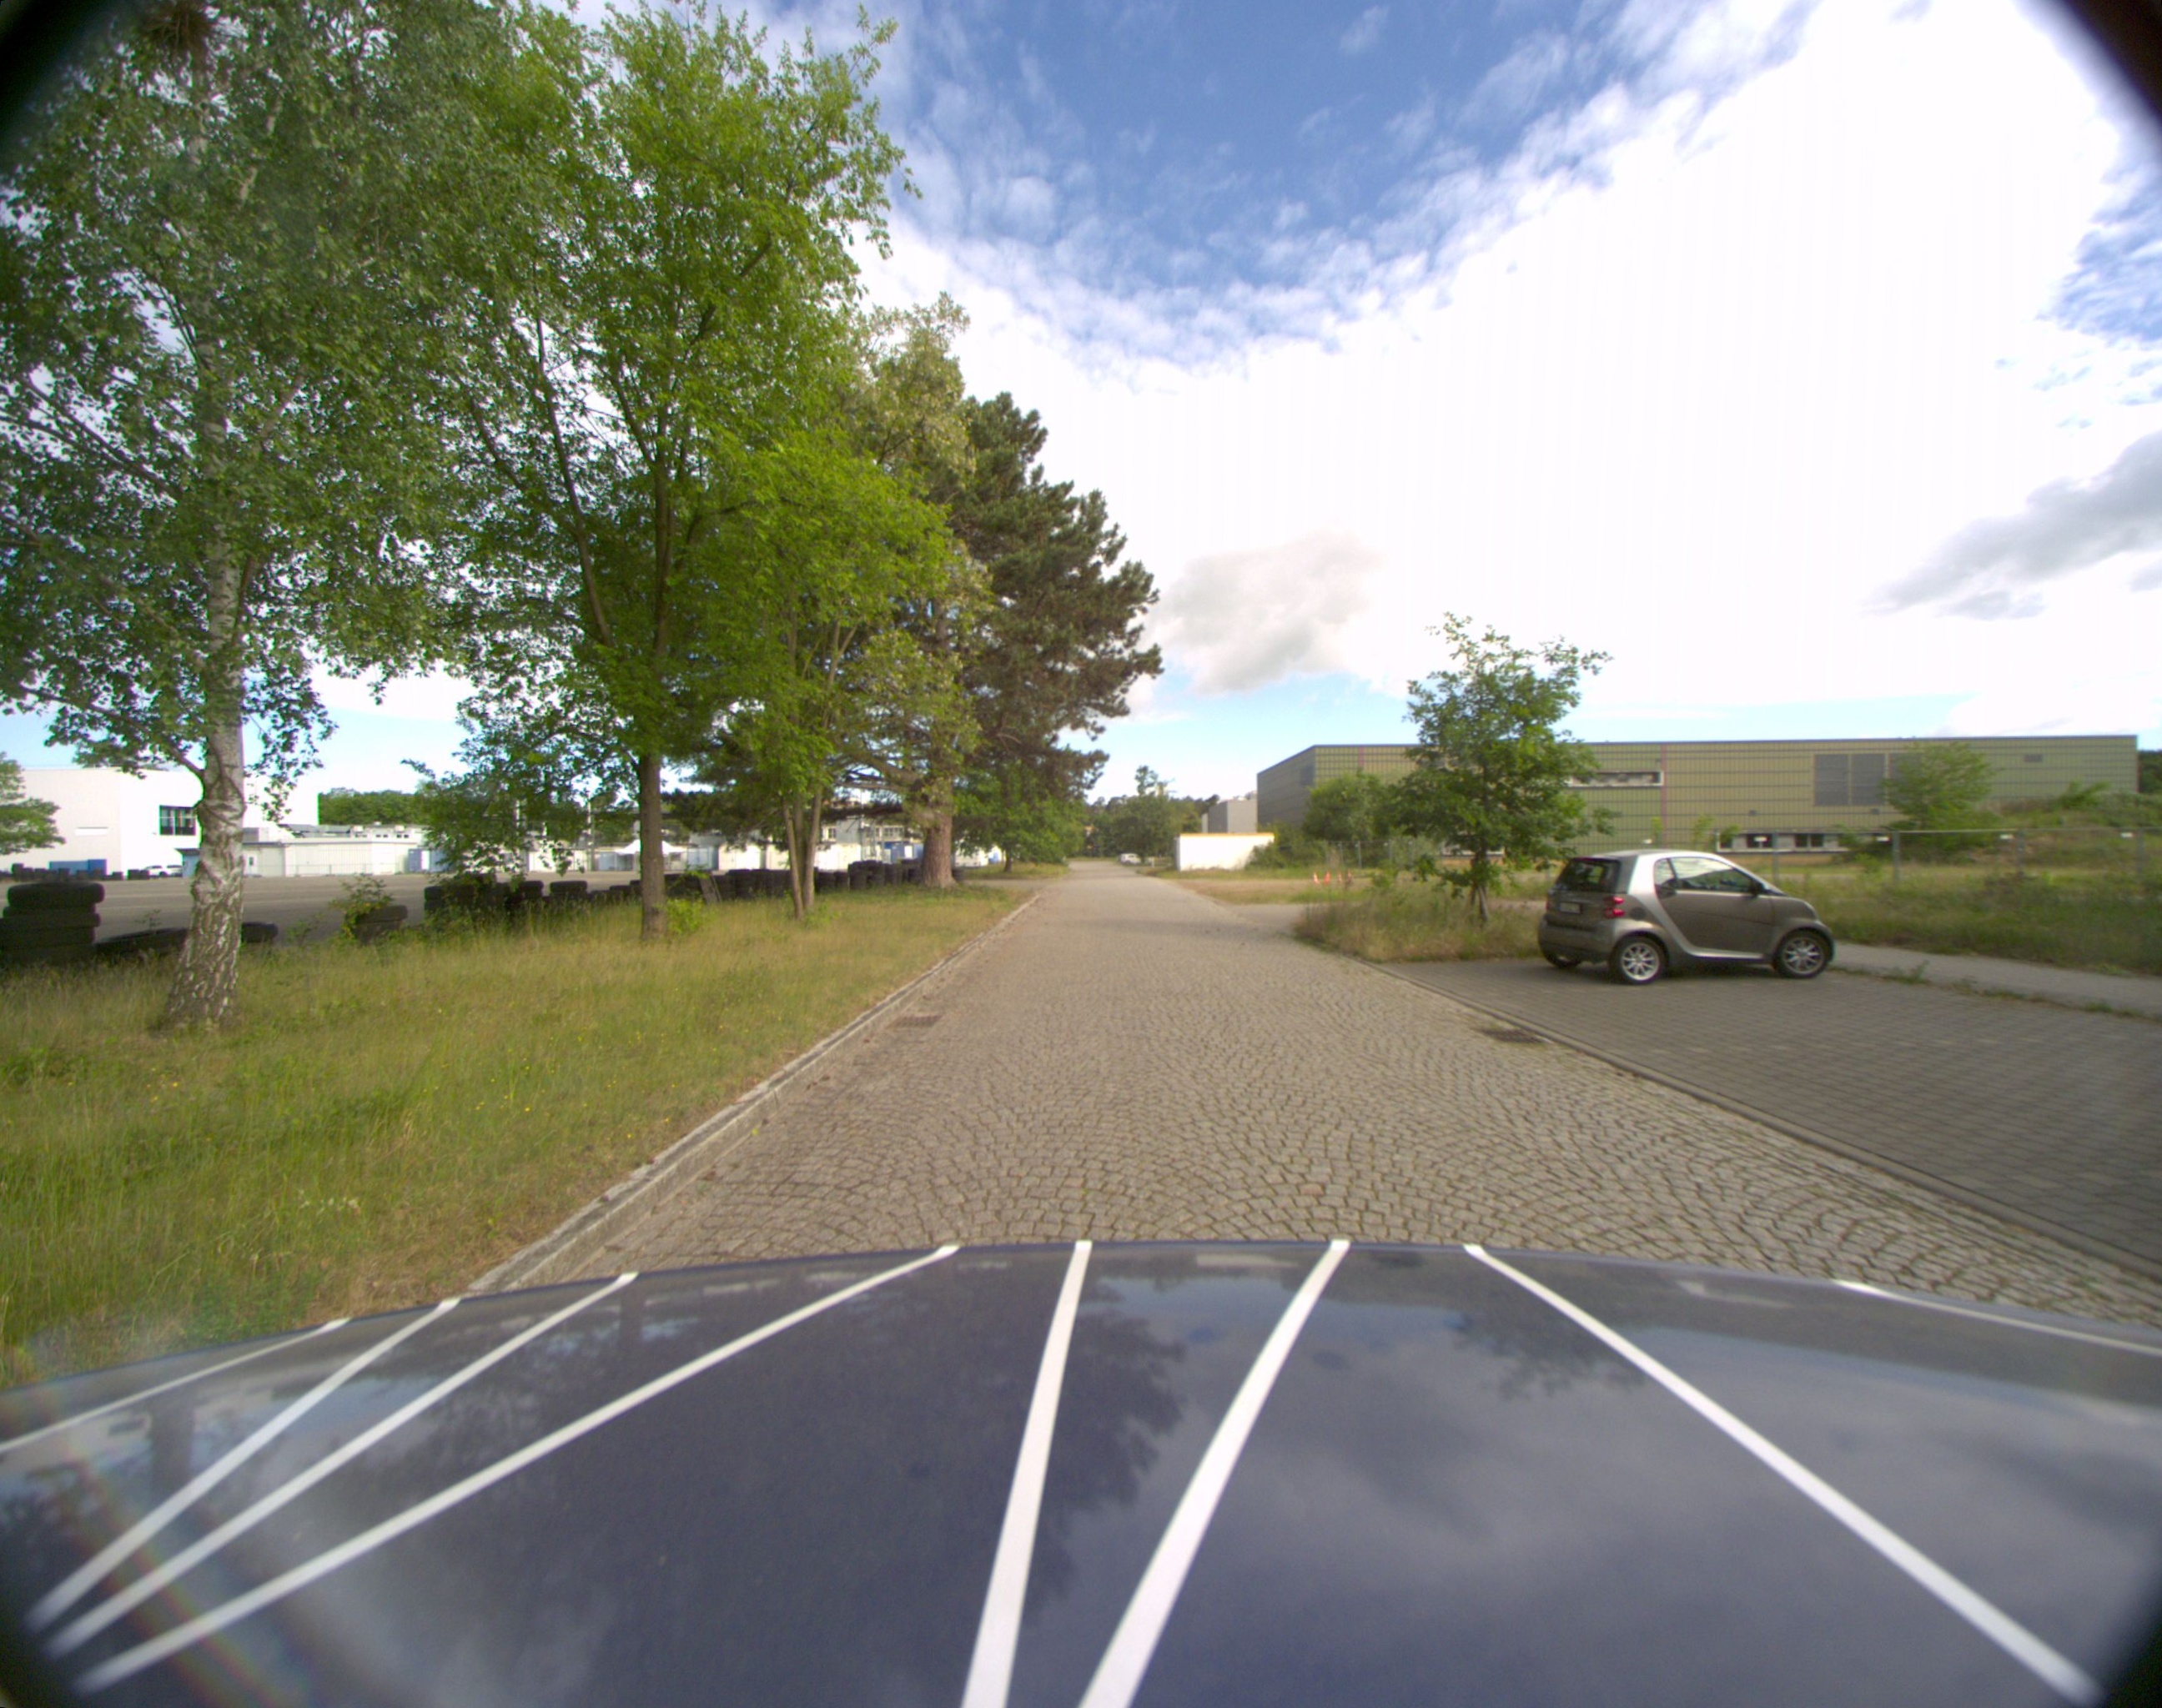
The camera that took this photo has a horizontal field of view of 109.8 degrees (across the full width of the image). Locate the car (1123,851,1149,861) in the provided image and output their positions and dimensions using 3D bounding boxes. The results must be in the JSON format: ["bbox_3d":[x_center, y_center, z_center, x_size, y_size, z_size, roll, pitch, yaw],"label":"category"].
[{"bbox_3d":[8.418,0.317,116.587,3.996,1.604,1.797,0,1,4],"label":"car"}]

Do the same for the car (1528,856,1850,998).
[{"bbox_3d":[7.327,0.822,9.368,2.661,1.502,1.610,-2,0,0],"label":"car"}]
